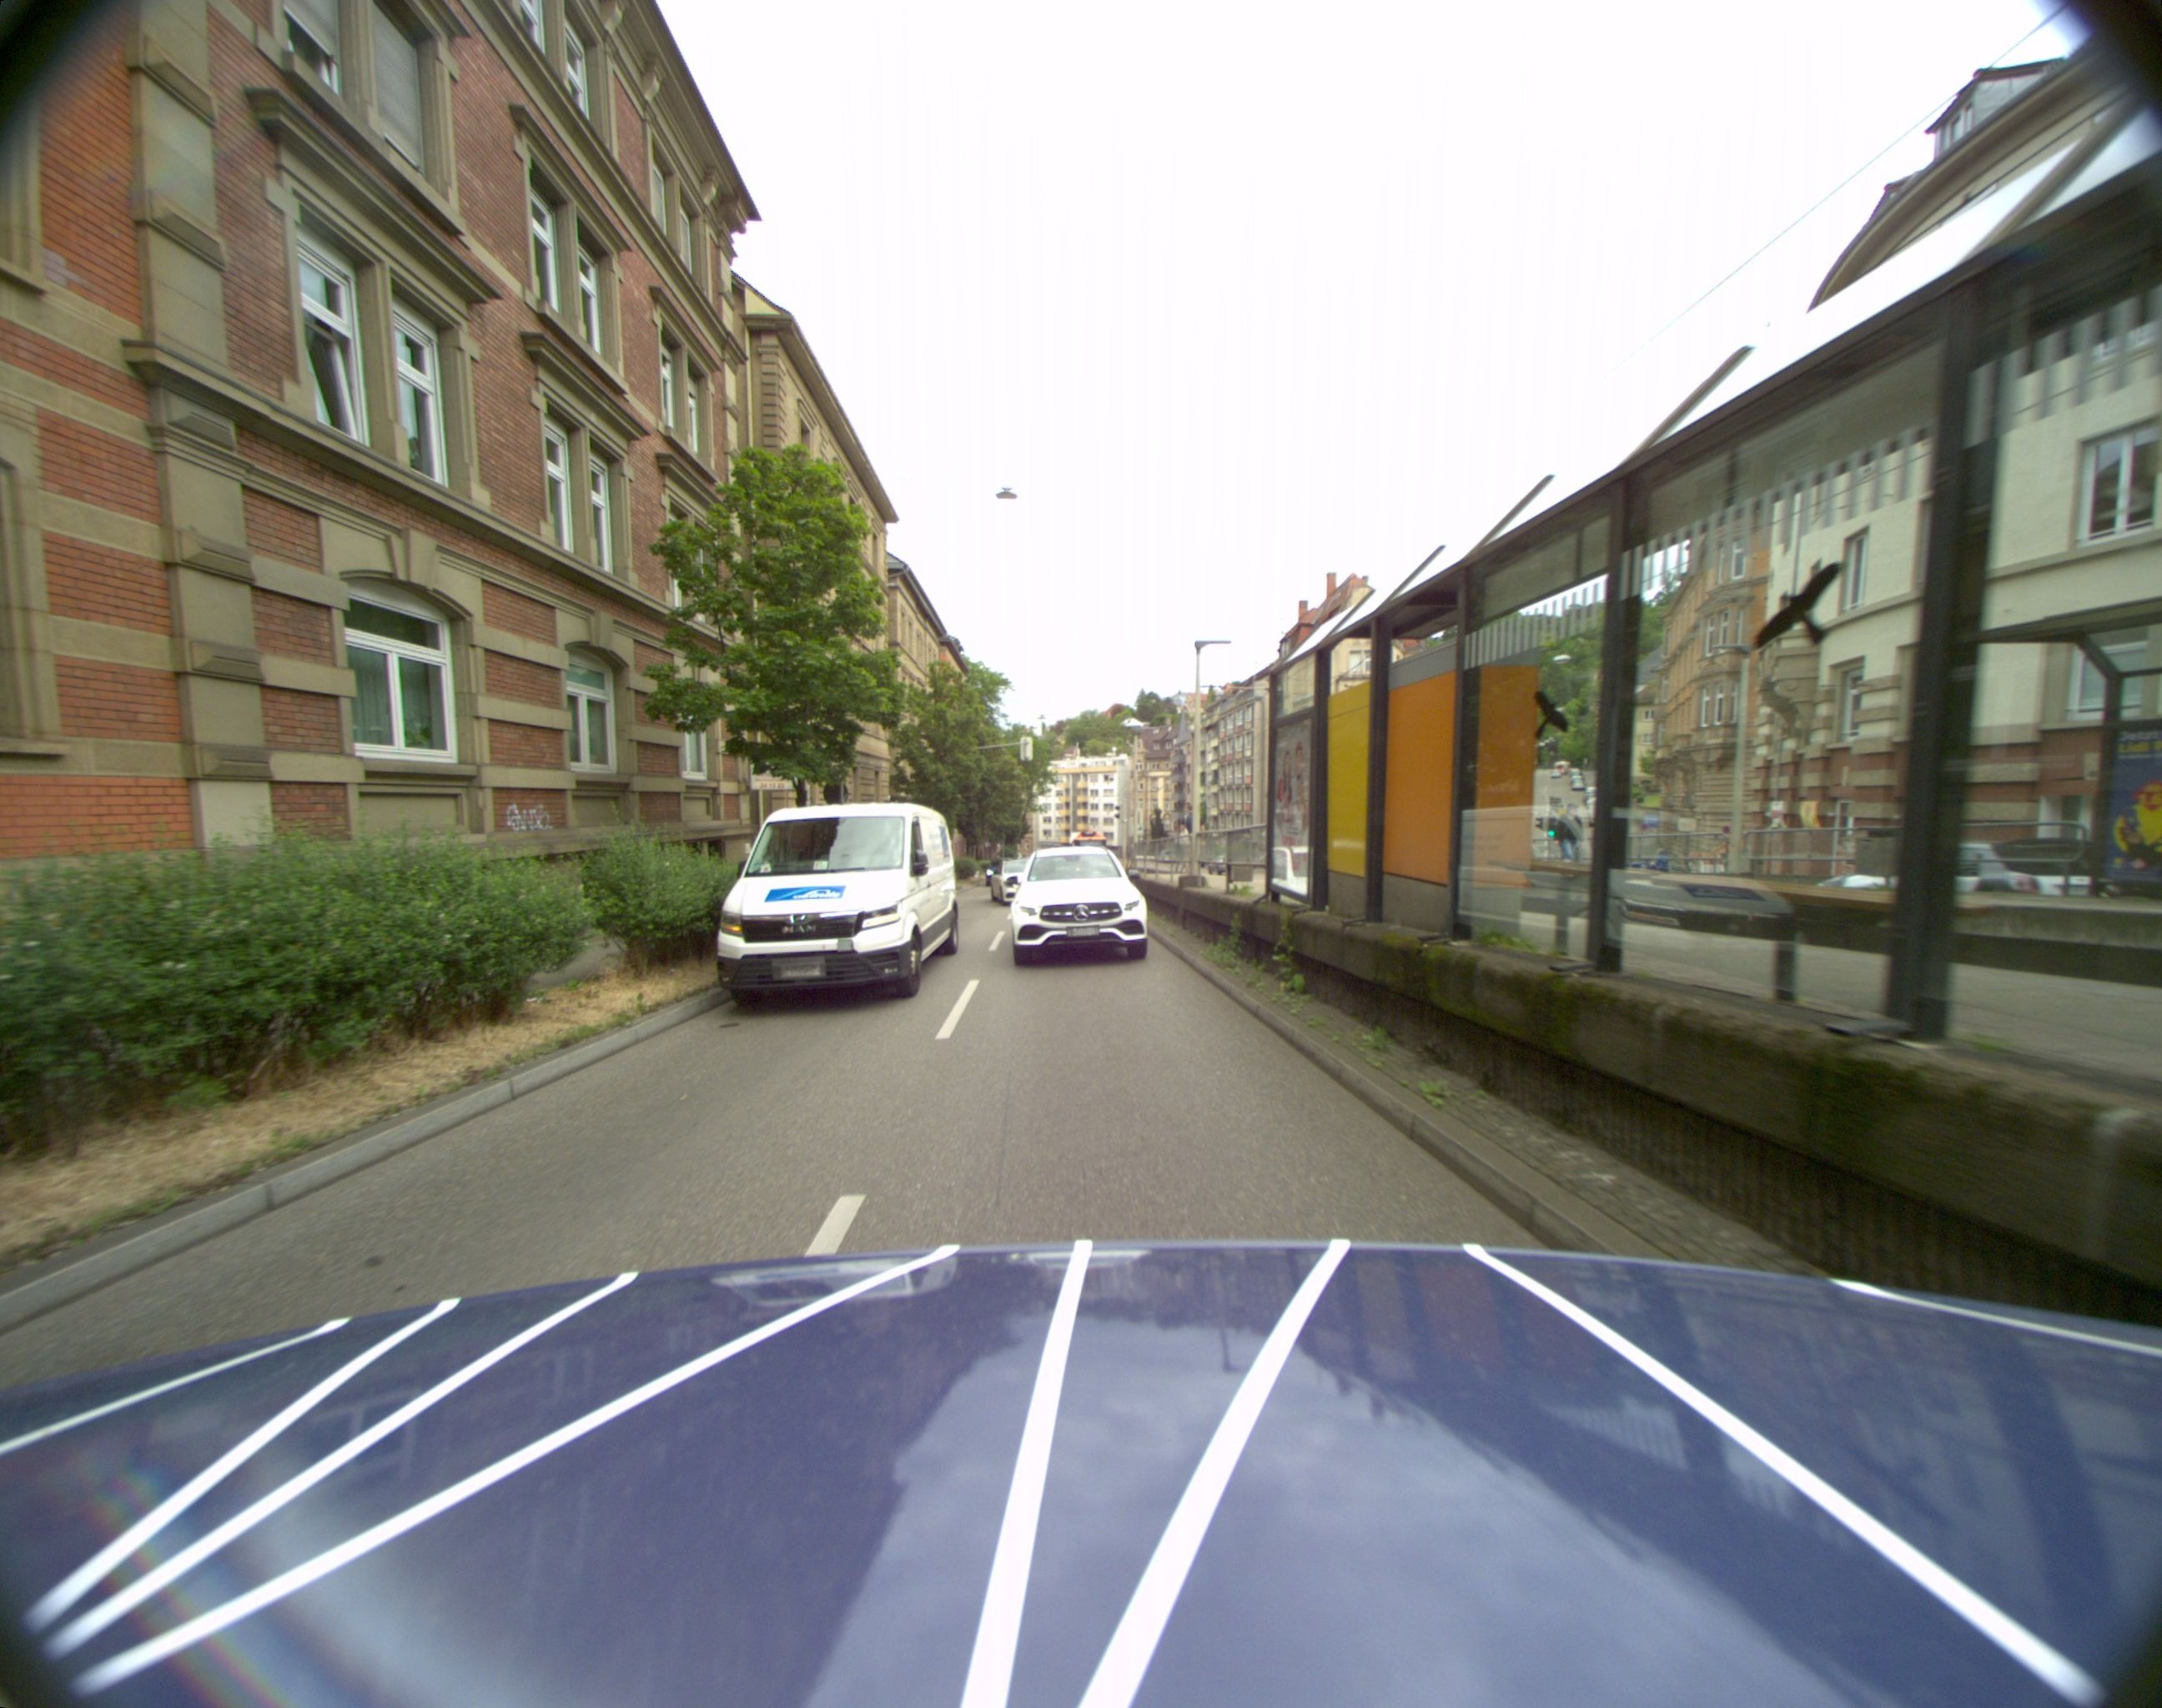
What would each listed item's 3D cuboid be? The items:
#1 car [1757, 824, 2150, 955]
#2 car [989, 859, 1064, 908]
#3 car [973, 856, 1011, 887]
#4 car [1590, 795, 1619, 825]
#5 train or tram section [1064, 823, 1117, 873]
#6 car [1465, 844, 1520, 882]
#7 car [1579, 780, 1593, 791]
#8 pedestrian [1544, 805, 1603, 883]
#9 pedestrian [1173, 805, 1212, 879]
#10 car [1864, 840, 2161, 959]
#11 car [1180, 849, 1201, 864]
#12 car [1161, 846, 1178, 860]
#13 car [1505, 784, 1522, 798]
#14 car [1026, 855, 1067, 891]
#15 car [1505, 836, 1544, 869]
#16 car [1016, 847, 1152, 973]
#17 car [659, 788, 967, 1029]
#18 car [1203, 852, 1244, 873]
[{"bbox_3d":[13.643,0.470,12.302,1.828,1.754,3.862,-1,1,-3],"label":"car"},{"bbox_3d":[-1.863,0.894,24.617,1.808,1.392,3.995,-2,0,-13],"label":"car"},{"bbox_3d":[-4.694,0.892,40.515,1.695,1.466,3.855,-1,1,-2],"label":"car"},{"bbox_3d":[48.611,-4.122,70.636,1.994,2.465,4.004,0,7,32],"label":"car"},{"bbox_3d":[0.514,-0.429,60.321,2.969,3.456,14.402,0,0,-4],"label":"train or tram section"},{"bbox_3d":[19.627,0.394,36.161,1.846,1.724,4.389,0,0,34],"label":"car"},{"bbox_3d":[74.769,-10.182,112.472,1.642,1.436,3.312,0,7,32],"label":"car"},{"bbox_3d":[10.940,-0.211,16.908,0.767,1.679,0.843,-1,1,-2],"label":"pedestrian"},{"bbox_3d":[2.603,-0.282,17.842,0.767,1.705,0.766,-1,1,-2],"label":"pedestrian"},{"bbox_3d":[16.407,0.639,12.785,1.851,1.724,4.379,-1,0,-3],"label":"car"},{"bbox_3d":[13.291,0.263,92.415,1.850,1.772,4.380,-1,0,-1],"label":"car"},{"bbox_3d":[12.983,-0.159,112.035,1.851,1.963,4.049,-1,0,-2],"label":"car"},{"bbox_3d":[63.290,-9.249,111.172,1.938,1.630,4.004,0,7,32],"label":"car"},{"bbox_3d":[-1.651,0.865,36.581,1.806,1.542,3.999,-2,0,-3],"label":"car"},{"bbox_3d":[28.828,-0.109,49.322,1.994,1.667,4.004,0,6,33],"label":"car"},{"bbox_3d":[-0.058,0.766,12.994,1.841,1.657,4.668,-2,1,-3],"label":"car"},{"bbox_3d":[-3.044,0.514,10.380,2.264,2.274,5.965,-2,0,-3],"label":"car"},{"bbox_3d":[10.282,0.605,54.960,1.851,1.438,4.378,-1,0,-4],"label":"car"}]
